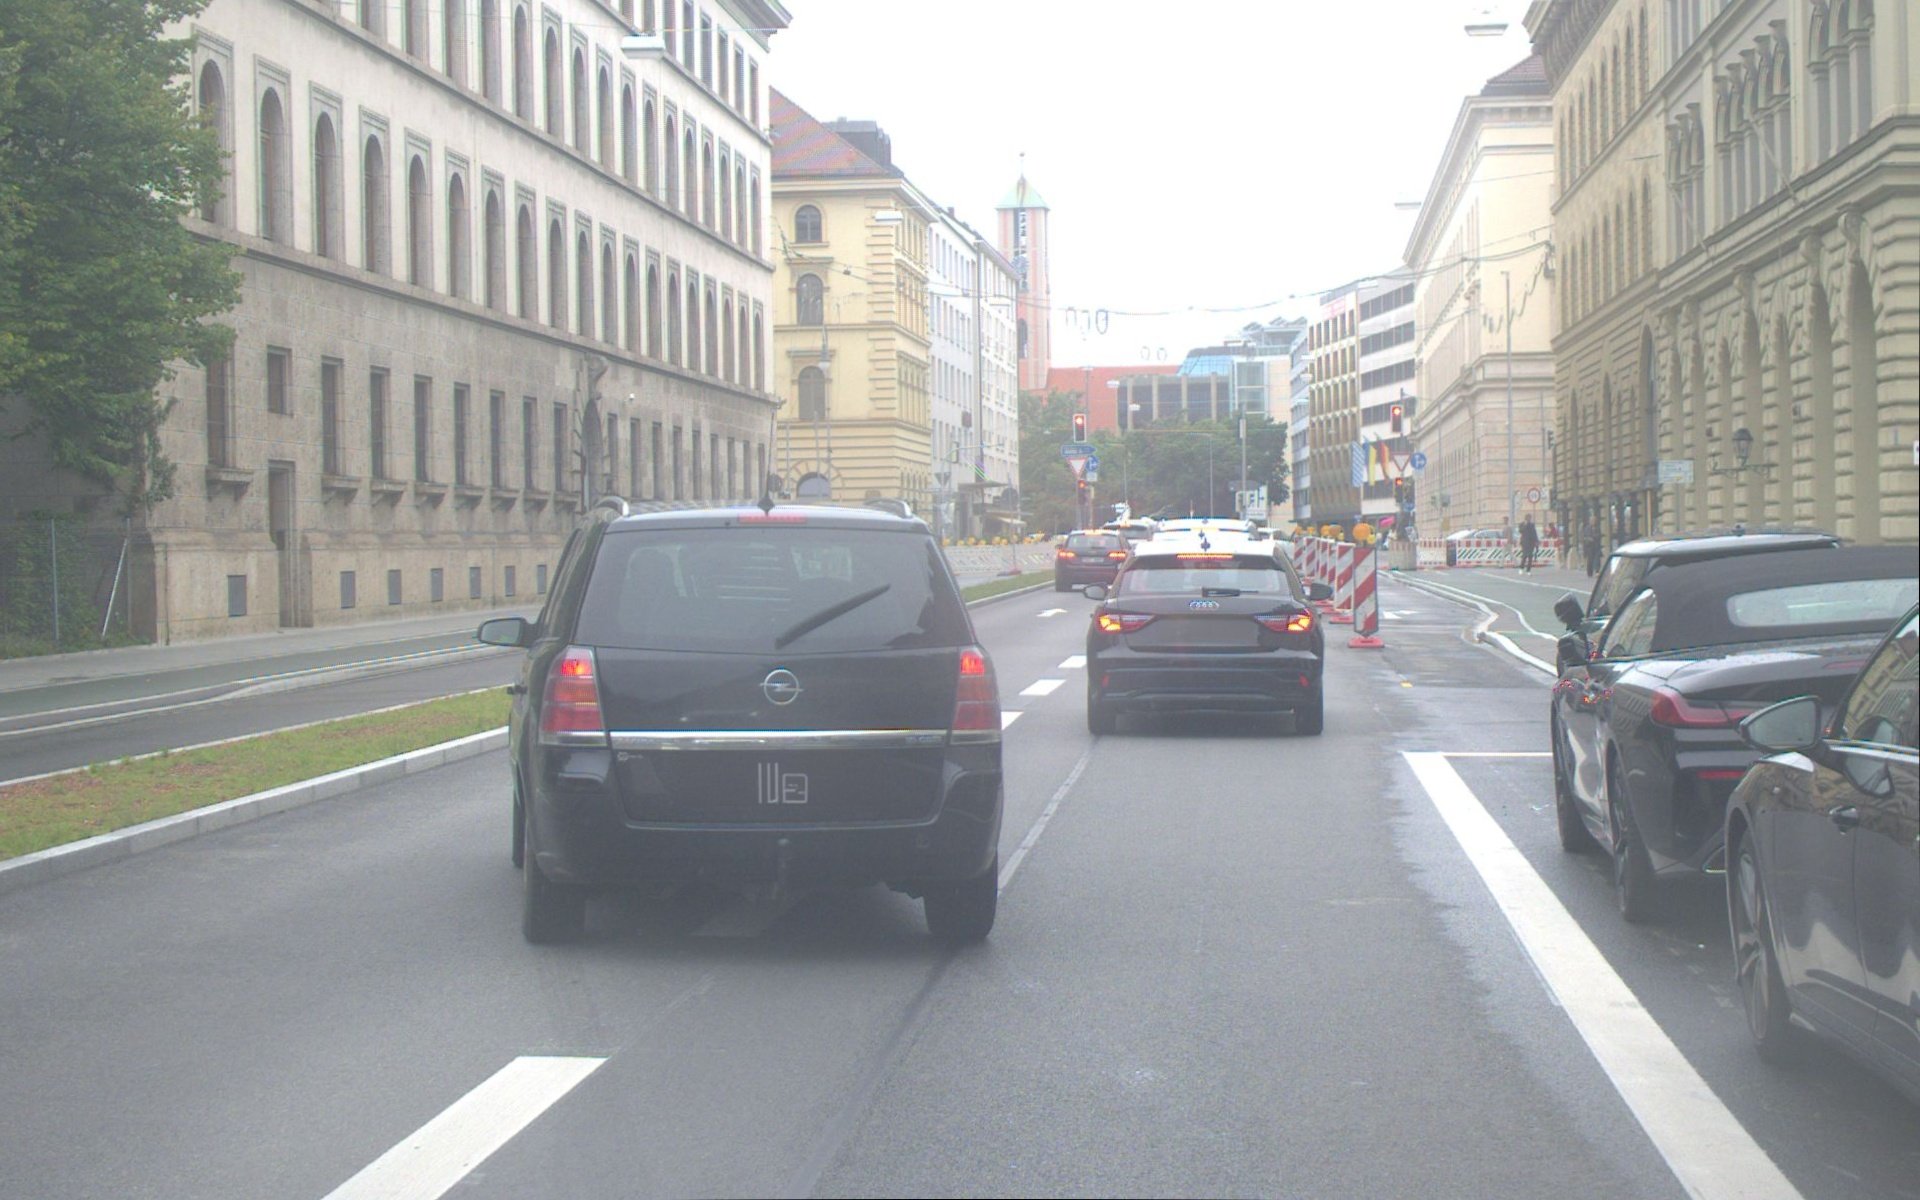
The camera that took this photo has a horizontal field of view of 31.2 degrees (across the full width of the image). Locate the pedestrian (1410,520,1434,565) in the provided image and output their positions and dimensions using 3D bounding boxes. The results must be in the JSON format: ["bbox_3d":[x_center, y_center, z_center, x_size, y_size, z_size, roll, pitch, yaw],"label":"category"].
[{"bbox_3d":[16.533,-2.051,123.044,0.752,1.612,0.712,-1,1,13],"label":"pedestrian"}]

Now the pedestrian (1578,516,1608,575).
[{"bbox_3d":[17.447,-1.495,94.795,0.710,1.612,0.754,-1,1,5],"label":"pedestrian"}]

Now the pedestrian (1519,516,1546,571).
[{"bbox_3d":[17.065,-1.681,102.547,0.710,1.612,0.754,-1,1,5],"label":"pedestrian"}]

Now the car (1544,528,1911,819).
[{"bbox_3d":[4.399,0.347,20.177,1.675,1.515,3.829,0,1,6],"label":"car"}]

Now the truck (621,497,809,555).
[{"bbox_3d":[-10.026,-3.040,140.817,7.388,2.245,2.179,1,1,8],"label":"truck"}]

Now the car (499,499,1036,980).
[{"bbox_3d":[-0.910,0.419,13.624,1.764,1.610,4.031,0,1,-8],"label":"car"}]

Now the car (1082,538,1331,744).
[{"bbox_3d":[1.902,0.248,26.143,1.730,1.398,4.000,1,1,5],"label":"car"}]

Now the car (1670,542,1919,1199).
[{"bbox_3d":[2.905,0.606,7.808,1.809,1.475,4.462,-5,1,4],"label":"car"}]

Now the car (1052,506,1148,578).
[{"bbox_3d":[3.290,-1.368,80.191,1.994,1.622,3.999,-1,1,6],"label":"car"}]

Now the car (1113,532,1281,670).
[{"bbox_3d":[2.634,-0.031,37.721,1.730,1.398,4.000,1,1,5],"label":"car"}]

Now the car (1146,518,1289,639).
[{"bbox_3d":[3.321,-0.314,43.981,1.730,1.456,4.000,1,1,5],"label":"car"}]

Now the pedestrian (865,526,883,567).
[{"bbox_3d":[-3.742,-2.330,149.558,0.656,1.798,0.727,-1,1,5],"label":"pedestrian"}]

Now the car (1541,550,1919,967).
[{"bbox_3d":[3.490,0.520,14.309,1.826,1.402,4.719,0,1,6],"label":"car"}]

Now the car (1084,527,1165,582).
[{"bbox_3d":[4.515,-1.262,93.698,1.994,1.439,3.999,-1,1,6],"label":"car"}]

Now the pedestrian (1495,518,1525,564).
[{"bbox_3d":[19.251,-2.069,120.334,0.710,1.612,0.754,-1,1,-24],"label":"pedestrian"}]
